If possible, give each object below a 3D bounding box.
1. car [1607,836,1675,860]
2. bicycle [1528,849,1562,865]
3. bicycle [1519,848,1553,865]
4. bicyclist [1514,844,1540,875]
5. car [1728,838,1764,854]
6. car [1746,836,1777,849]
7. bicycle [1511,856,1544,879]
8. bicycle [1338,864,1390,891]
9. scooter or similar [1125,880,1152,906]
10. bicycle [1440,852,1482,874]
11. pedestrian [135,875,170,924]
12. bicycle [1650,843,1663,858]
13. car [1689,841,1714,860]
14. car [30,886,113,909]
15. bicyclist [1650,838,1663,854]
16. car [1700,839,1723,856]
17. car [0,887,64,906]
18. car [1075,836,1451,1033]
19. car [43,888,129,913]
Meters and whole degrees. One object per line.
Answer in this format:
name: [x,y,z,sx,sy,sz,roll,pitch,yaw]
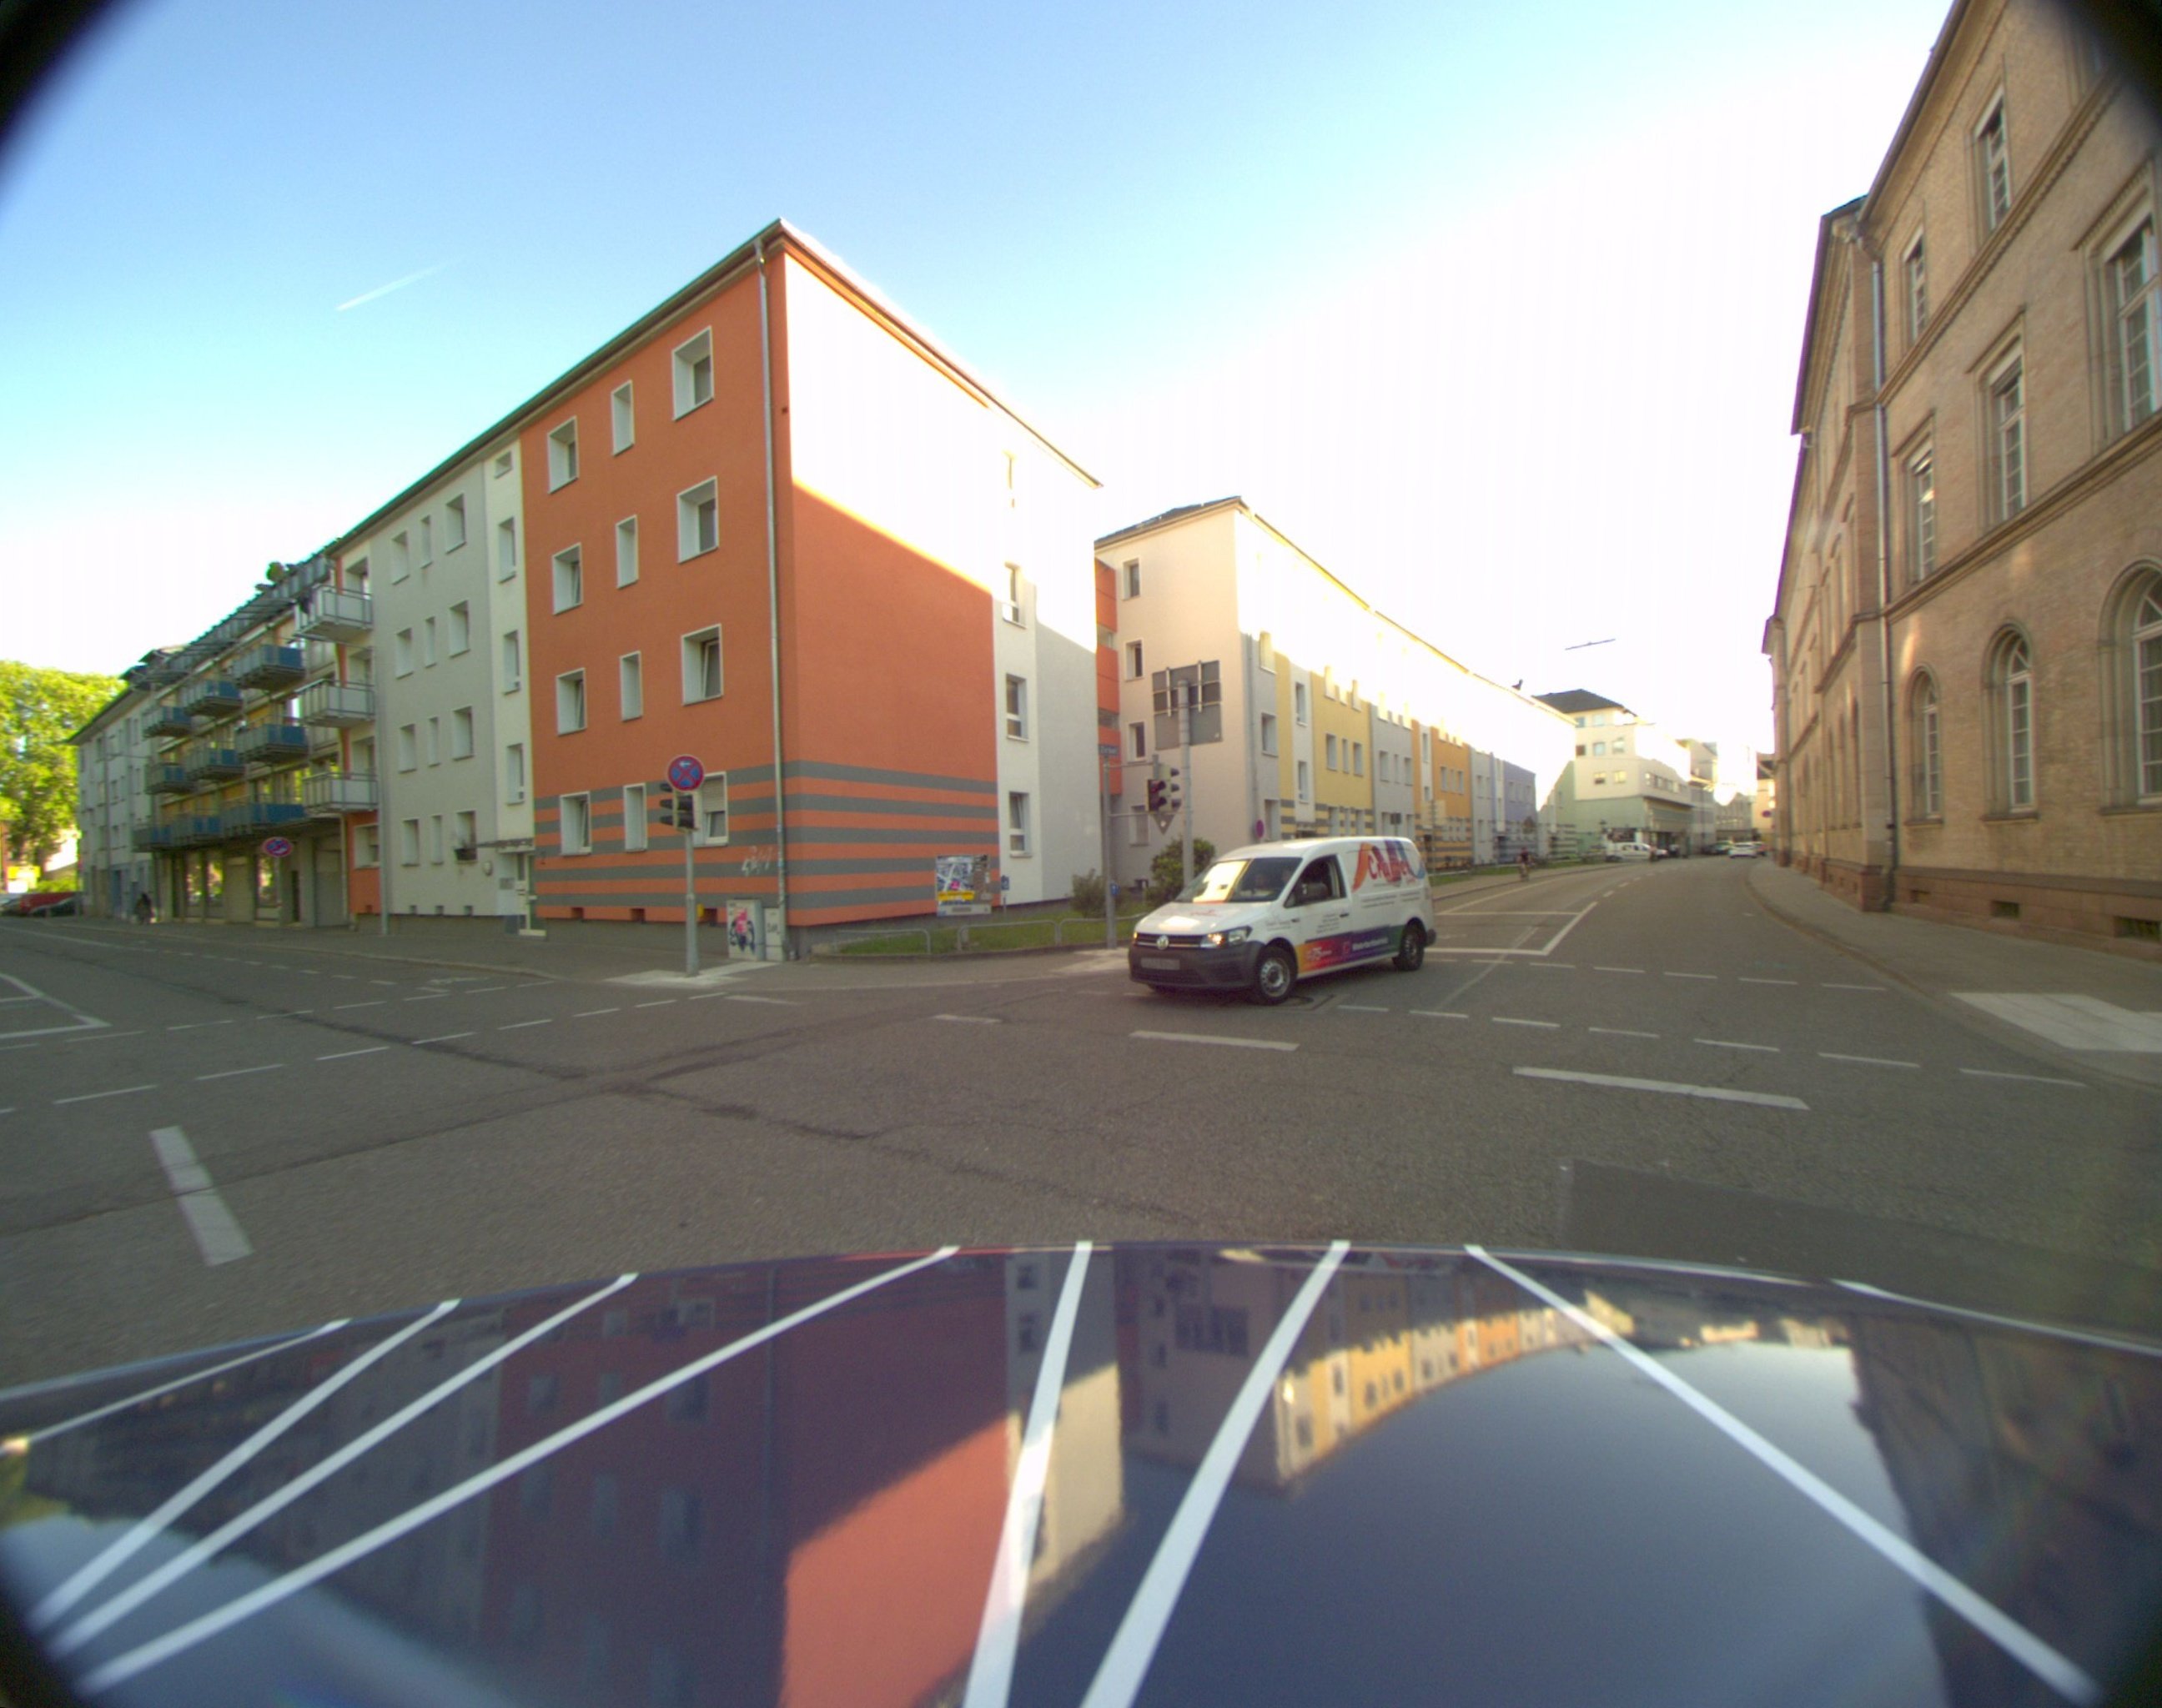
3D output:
car: [51.086,-0.496,69.386,4.694,2.002,2.004,-2,0,45]
bicycle: [31.401,0.210,51.477,1.871,1.063,0.712,-2,1,24]
bicycle: [30.064,0.141,50.205,1.870,1.063,0.712,-2,1,32]
bicyclist: [20.420,0.271,34.779,0.840,1.364,0.790,1,-4,-45]
car: [61.374,-0.758,70.127,4.716,1.332,2.101,-2,0,-44]
car: [72.839,-1.236,81.297,4.716,1.332,2.101,-2,0,-44]
bicycle: [20.447,0.637,34.782,1.997,0.992,0.788,1,-4,-45]
bicycle: [10.691,0.902,28.696,1.754,0.987,0.541,-1,1,29]
scooter or similar: [1.790,1.215,23.684,0.744,0.783,0.301,-2,1,17]
bicycle: [19.833,0.462,39.705,1.870,1.063,0.712,-2,1,32]
pedestrian: [-46.340,2.254,37.907,1.085,2.382,0.916,-2,0,32]
bicycle: [45.389,-0.283,59.931,0.676,1.104,1.800,-2,0,42]
car: [71.532,-0.424,87.576,1.994,2.002,4.008,-2,0,43]
car: [-83.649,3.569,62.986,1.828,1.689,4.008,-2,0,34]
bicyclist: [45.382,-0.624,59.921,0.676,1.252,0.823,-2,0,42]
car: [79.919,-0.860,96.300,1.994,2.002,4.008,-2,0,43]
car: [-105.194,4.226,75.984,1.828,1.689,4.008,-2,0,34]
car: [2.534,0.738,9.558,5.135,1.806,1.995,-2,0,-42]
car: [-79.033,3.660,60.419,1.828,1.689,4.008,-2,0,34]
